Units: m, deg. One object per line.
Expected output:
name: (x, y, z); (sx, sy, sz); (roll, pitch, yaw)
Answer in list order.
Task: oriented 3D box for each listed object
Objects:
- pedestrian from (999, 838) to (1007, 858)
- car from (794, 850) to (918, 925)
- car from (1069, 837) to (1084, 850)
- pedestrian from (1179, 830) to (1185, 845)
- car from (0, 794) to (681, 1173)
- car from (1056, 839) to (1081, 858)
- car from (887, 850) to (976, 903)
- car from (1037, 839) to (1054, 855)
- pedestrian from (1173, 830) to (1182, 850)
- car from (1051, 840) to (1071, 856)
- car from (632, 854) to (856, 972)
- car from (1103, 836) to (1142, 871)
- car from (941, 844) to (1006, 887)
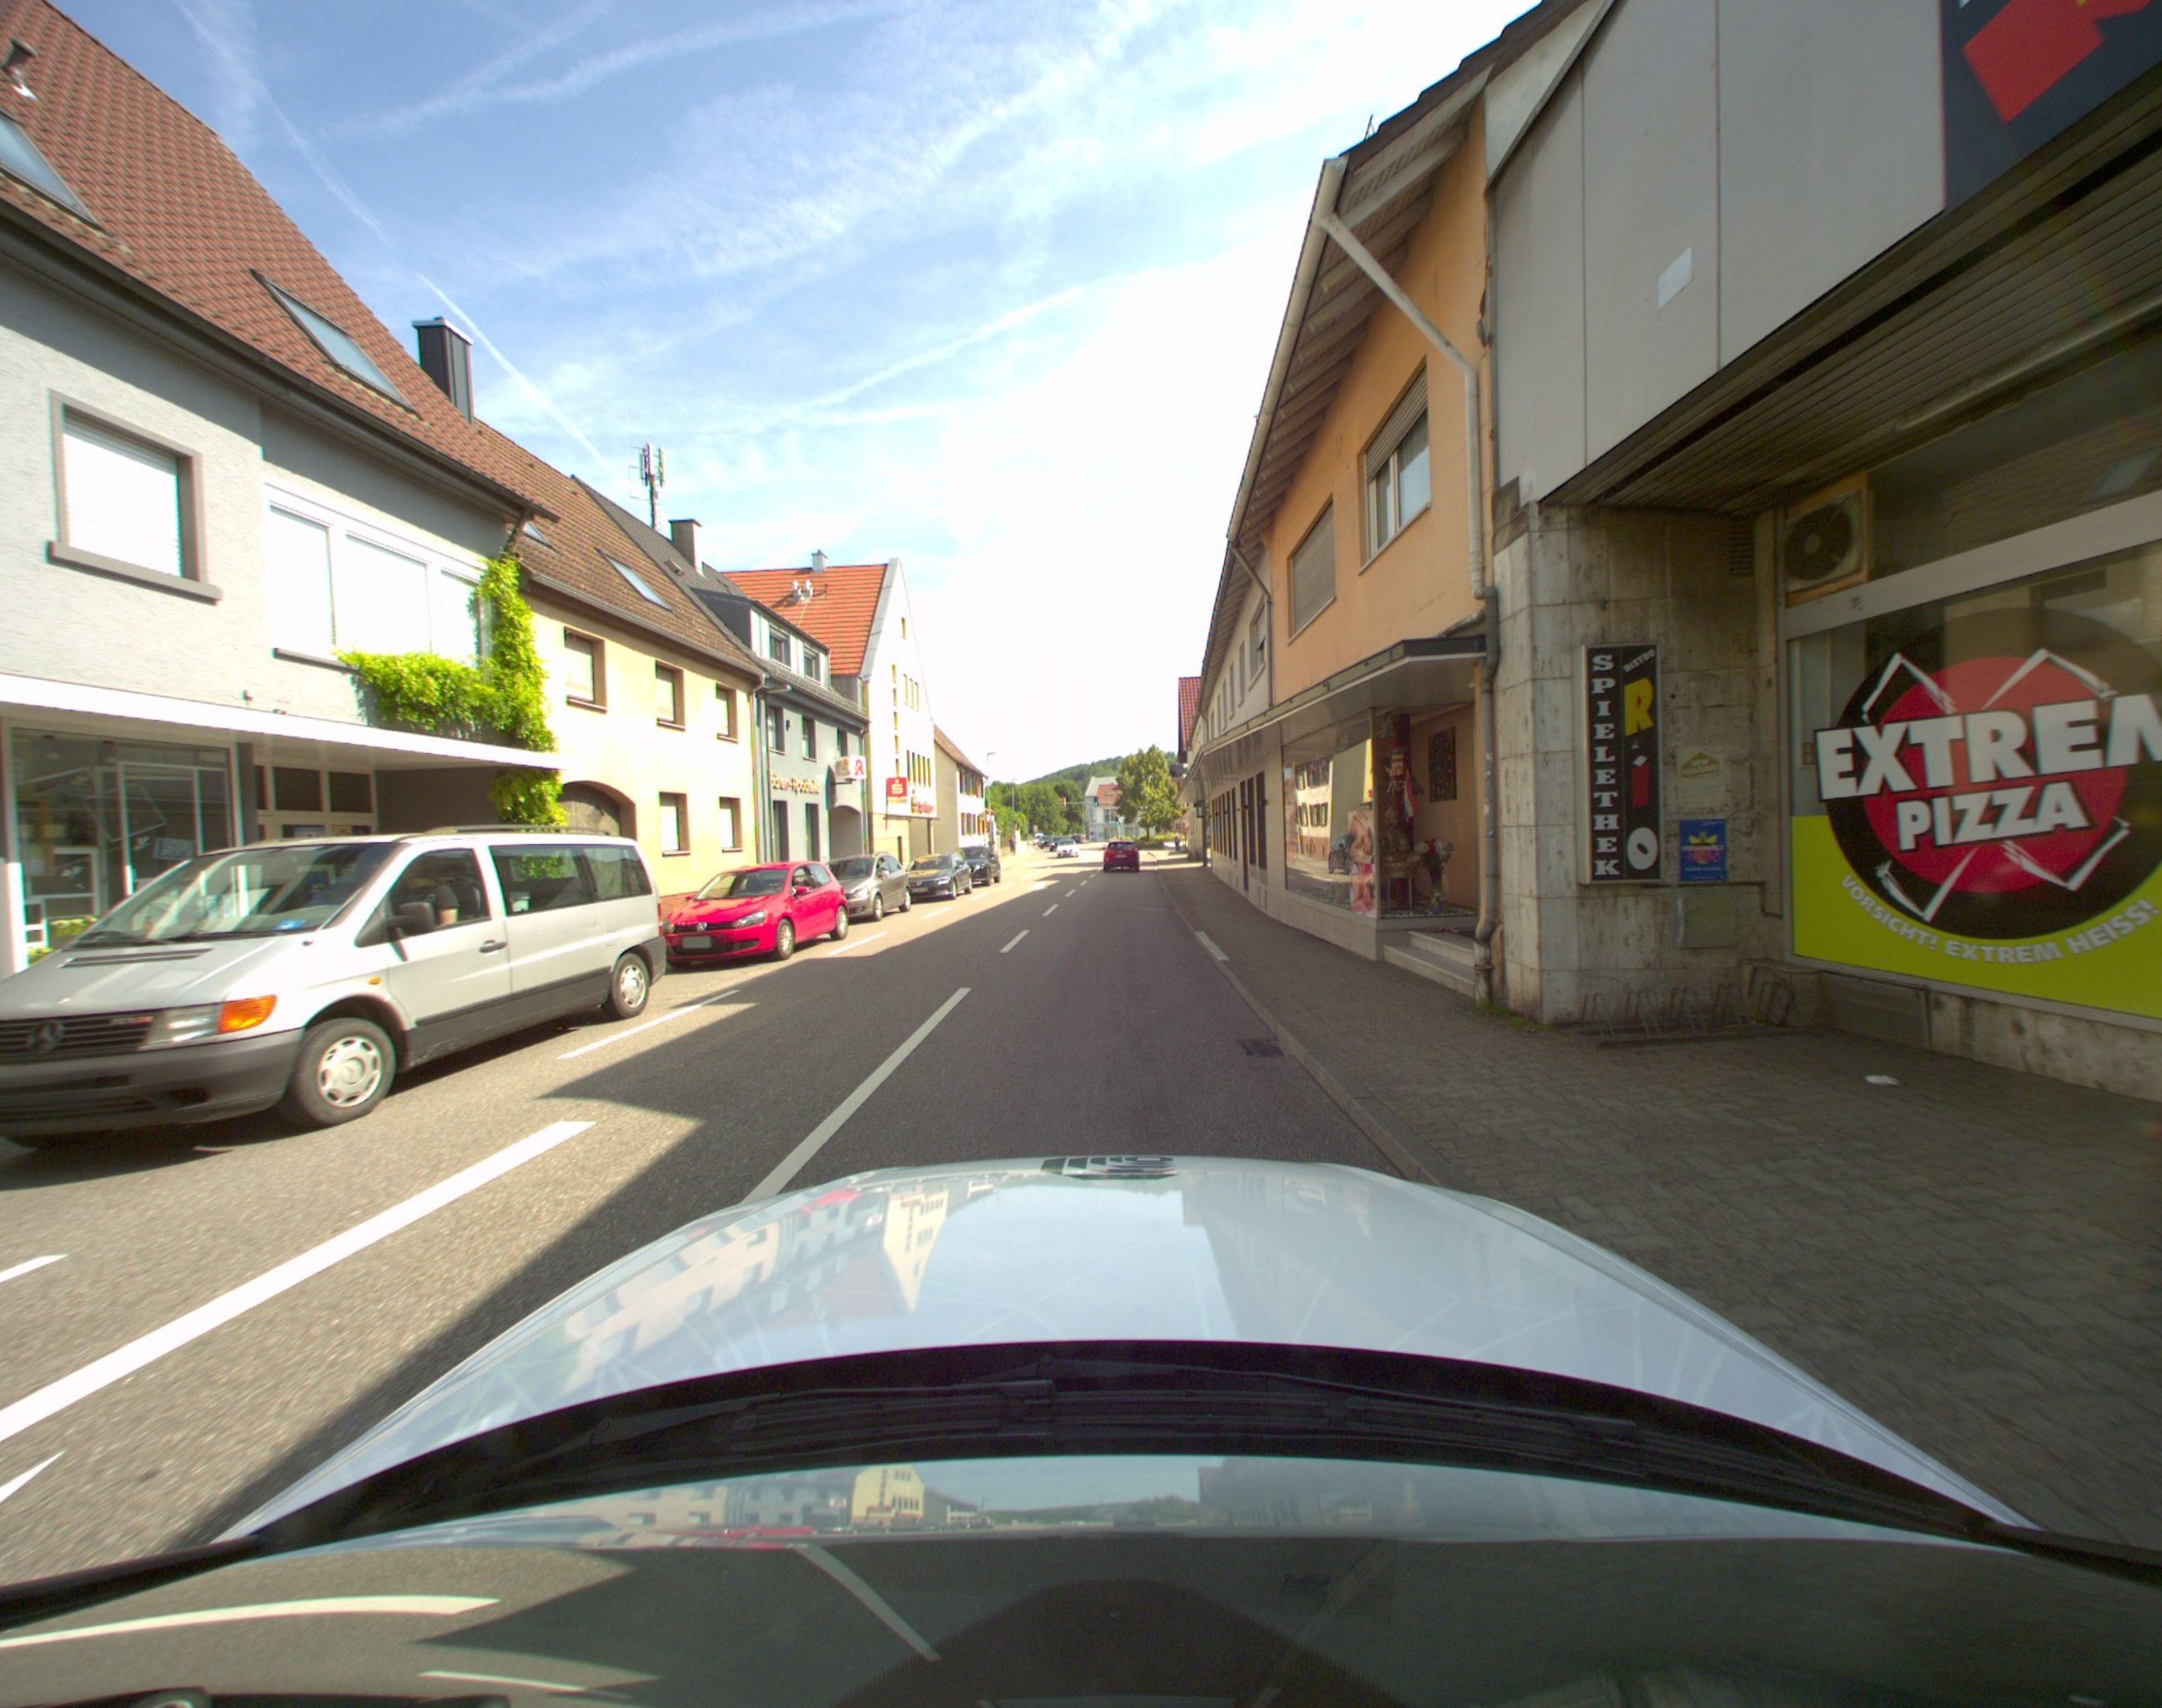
pedestrian: (-7.186, -0.569, 75.217); (0.664, 1.824, 0.798); (-2, -1, -3)
car: (-5.307, 0.724, 19.752); (1.622, 1.520, 4.022); (-3, 0, 3)
car: (-0.657, -1.624, 128.327); (1.924, 1.794, 3.960); (-2, -1, 4)
pedestrian: (13.036, -2.157, 105.016); (0.641, 1.879, 0.652); (-2, -1, -3)
car: (-5.359, 0.669, 6.497); (1.877, 1.890, 4.553); (-4, 0, 1)
car: (-1.082, -0.468, 69.459); (1.982, 1.444, 5.097); (-2, 0, -2)
car: (-4.718, 0.651, 26.365); (1.781, 1.450, 4.427); (-3, 0, 3)
car: (-4.452, -0.870, 102.728); (1.768, 1.784, 3.840); (-2, -1, 2)
pedestrian: (8.440, -1.232, 71.318); (0.641, 1.707, 0.699); (-2, -1, -3)
car: (-2.240, -0.658, 90.979); (1.831, 1.532, 4.258); (-2, 2, 4)
car: (-5.197, 0.807, 13.231); (1.752, 1.492, 4.078); (-3, 0, 2)
car: (2.215, -0.039, 42.687); (1.850, 1.714, 4.428); (-1, 1, 5)
car: (-4.407, 0.438, 34.067); (1.860, 1.589, 4.521); (-3, 0, 3)
